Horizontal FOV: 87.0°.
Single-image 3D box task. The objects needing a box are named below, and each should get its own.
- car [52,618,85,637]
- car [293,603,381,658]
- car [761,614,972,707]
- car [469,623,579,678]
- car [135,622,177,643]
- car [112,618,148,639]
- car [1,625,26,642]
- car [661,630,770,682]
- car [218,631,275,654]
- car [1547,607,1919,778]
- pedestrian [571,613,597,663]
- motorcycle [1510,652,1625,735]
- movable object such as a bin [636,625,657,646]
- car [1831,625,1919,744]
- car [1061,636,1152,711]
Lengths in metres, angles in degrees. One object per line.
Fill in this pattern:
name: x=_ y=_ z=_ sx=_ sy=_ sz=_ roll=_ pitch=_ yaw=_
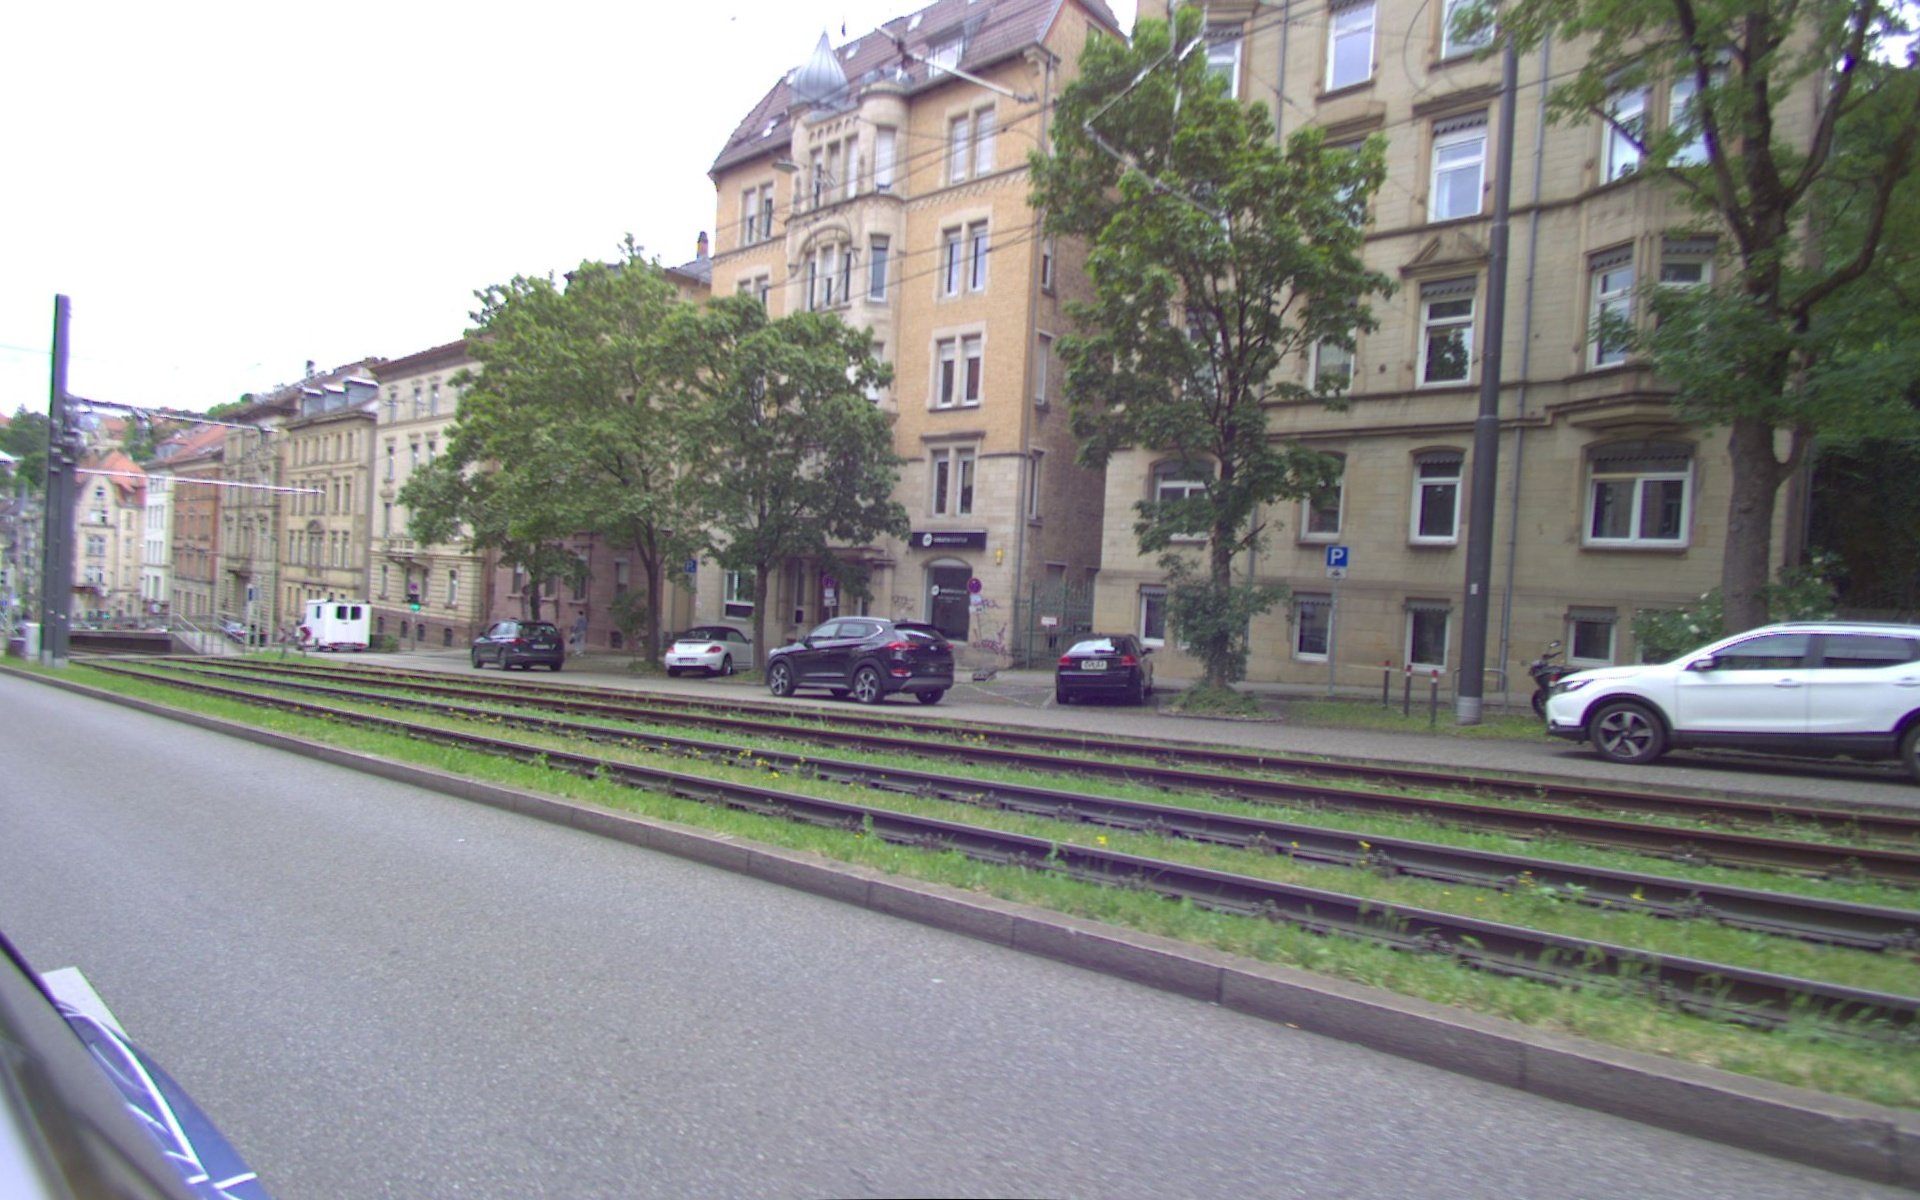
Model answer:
car: x=-81.543 y=2.543 z=92.559 sx=4.575 sy=1.749 sz=1.691 roll=-2 pitch=-3 yaw=42
car: x=-33.319 y=1.632 z=54.036 sx=6.520 sy=2.720 sz=2.365 roll=-2 pitch=-4 yaw=44
car: x=-1.937 y=1.160 z=20.232 sx=4.241 sy=1.669 sz=1.761 roll=-1 pitch=-4 yaw=41
car: x=-14.228 y=1.623 z=32.901 sx=1.857 sy=1.663 sz=4.475 roll=4 pitch=-4 yaw=-42
car: x=-54.667 y=2.207 z=68.793 sx=3.653 sy=1.388 sz=1.560 roll=-2 pitch=-3 yaw=41
car: x=-73.564 y=2.541 z=89.727 sx=4.137 sy=1.874 sz=1.829 roll=-2 pitch=-3 yaw=42
car: x=-129.476 y=4.629 z=138.406 sx=5.452 sy=2.322 sz=1.973 roll=-2 pitch=-3 yaw=41
car: x=-7.243 y=1.633 z=30.339 sx=1.766 sy=1.433 sz=3.988 roll=0 pitch=-2 yaw=10
car: x=-45.484 y=2.694 z=64.479 sx=4.743 sy=1.439 sz=1.731 roll=-2 pitch=-4 yaw=39
car: x=8.998 y=0.938 z=10.927 sx=4.344 sy=1.629 sz=1.761 roll=-1 pitch=-4 yaw=41
pedestrian: x=-15.568 y=1.577 z=41.918 sx=0.796 sy=2.029 sz=0.713 roll=-3 pitch=-3 yaw=39
motorcycle: x=9.121 y=1.370 z=15.294 sx=0.618 sy=1.066 sz=2.201 roll=0 pitch=0 yaw=7
movable object such as a bin: x=-12.462 y=1.408 z=40.216 sx=0.628 sy=0.842 sz=0.576 roll=-2 pitch=-3 yaw=41
car: x=12.759 y=1.041 z=11.961 sx=1.766 sy=1.481 sz=4.143 roll=1 pitch=-3 yaw=9
car: x=3.166 y=1.456 z=21.286 sx=1.694 sy=1.375 sz=4.168 roll=0 pitch=-2 yaw=11
